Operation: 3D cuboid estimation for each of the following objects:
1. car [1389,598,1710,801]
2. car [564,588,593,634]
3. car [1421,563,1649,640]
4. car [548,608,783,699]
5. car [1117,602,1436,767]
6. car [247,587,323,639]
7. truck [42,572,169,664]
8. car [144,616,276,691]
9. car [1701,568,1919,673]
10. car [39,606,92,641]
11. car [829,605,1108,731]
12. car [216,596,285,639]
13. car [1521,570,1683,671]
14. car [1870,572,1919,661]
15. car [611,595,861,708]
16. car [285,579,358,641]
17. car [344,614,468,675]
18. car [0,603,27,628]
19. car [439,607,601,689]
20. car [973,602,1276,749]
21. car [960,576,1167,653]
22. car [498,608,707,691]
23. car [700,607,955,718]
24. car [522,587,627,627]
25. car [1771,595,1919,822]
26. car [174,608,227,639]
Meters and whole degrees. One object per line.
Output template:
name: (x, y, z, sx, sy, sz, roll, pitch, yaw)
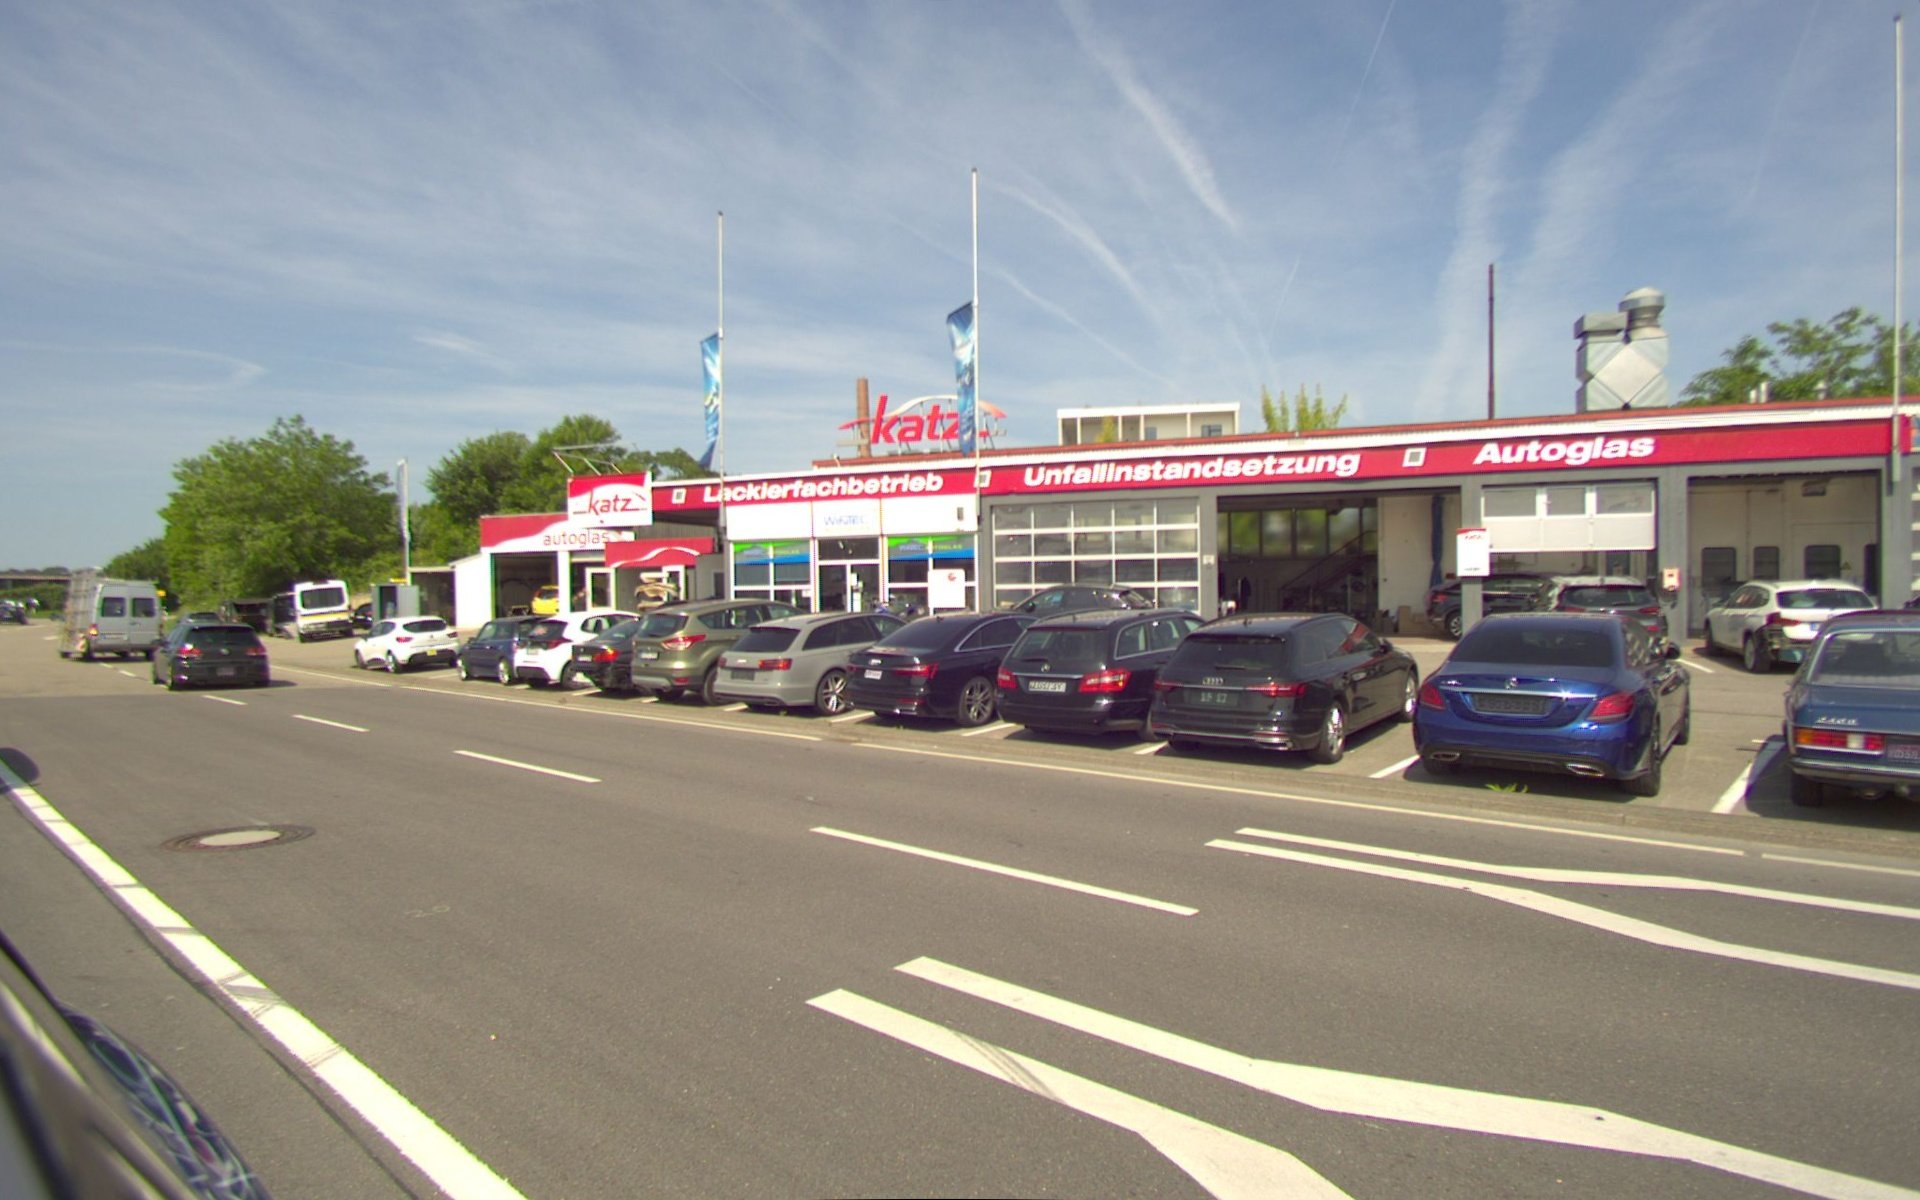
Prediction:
car: (5.667, 0.732, 9.496, 1.905, 1.465, 3.945, -1, 0, 41)
car: (-15.535, 0.440, 41.228, 0.868, 1.849, 0.847, -1, 0, -36)
car: (13.245, 0.059, 23.628, 4.447, 1.666, 1.858, -1, 0, 28)
car: (-5.582, 0.942, 19.565, 1.998, 1.536, 3.947, -1, 0, 39)
car: (3.642, 0.769, 11.226, 1.945, 1.463, 3.945, -1, 0, 41)
car: (-35.881, 0.691, 53.728, 2.405, 2.563, 5.343, -2, 0, -44)
truck: (-29.011, 0.573, 34.279, 6.039, 2.858, 2.410, -1, 0, 41)
car: (-16.632, 1.104, 22.366, 1.833, 1.471, 4.003, 0, 0, -44)
car: (14.721, 0.306, 17.781, 1.977, 1.618, 3.966, -1, 0, 25)
car: (-48.388, 1.277, 54.743, 2.024, 1.837, 4.514, 2, -2, -42)
car: (0.230, 0.843, 14.342, 1.756, 1.493, 3.943, -1, 0, 43)
car: (-40.349, 0.959, 57.504, 2.405, 2.280, 5.343, -2, 0, -44)
car: (11.646, 0.330, 18.632, 1.864, 1.631, 3.969, -1, 0, 23)
car: (17.416, 0.277, 16.875, 1.869, 1.531, 3.920, -1, 0, 18)
car: (-3.844, 0.803, 17.798, 1.871, 1.740, 3.944, -1, 0, 43)
car: (-28.313, 0.425, 45.033, 2.399, 2.563, 6.060, -2, 0, -29)
car: (-15.226, 1.168, 27.737, 4.000, 1.425, 1.742, -1, 3, 43)
car: (-72.623, 1.195, 77.018, 2.023, 1.837, 4.517, 1, -2, -38)
car: (-10.182, 1.029, 23.286, 4.002, 1.567, 1.972, -1, 4, 44)
car: (2.168, 0.801, 12.649, 1.949, 1.510, 3.826, -1, 0, 43)
car: (2.428, 0.343, 23.849, 4.508, 1.666, 1.860, -1, 0, 24)
car: (-7.510, 0.969, 21.519, 1.940, 1.562, 3.750, -1, 0, 40)
car: (-1.969, 0.878, 16.021, 1.737, 1.504, 3.925, -1, 0, 38)
car: (-17.297, 0.285, 45.639, 1.863, 1.666, 4.502, -1, 0, 22)
car: (7.788, 0.695, 8.033, 1.873, 1.479, 4.202, -1, 0, 42)
car: (-39.658, 1.235, 52.781, 1.801, 1.538, 4.464, 2, -2, -42)
